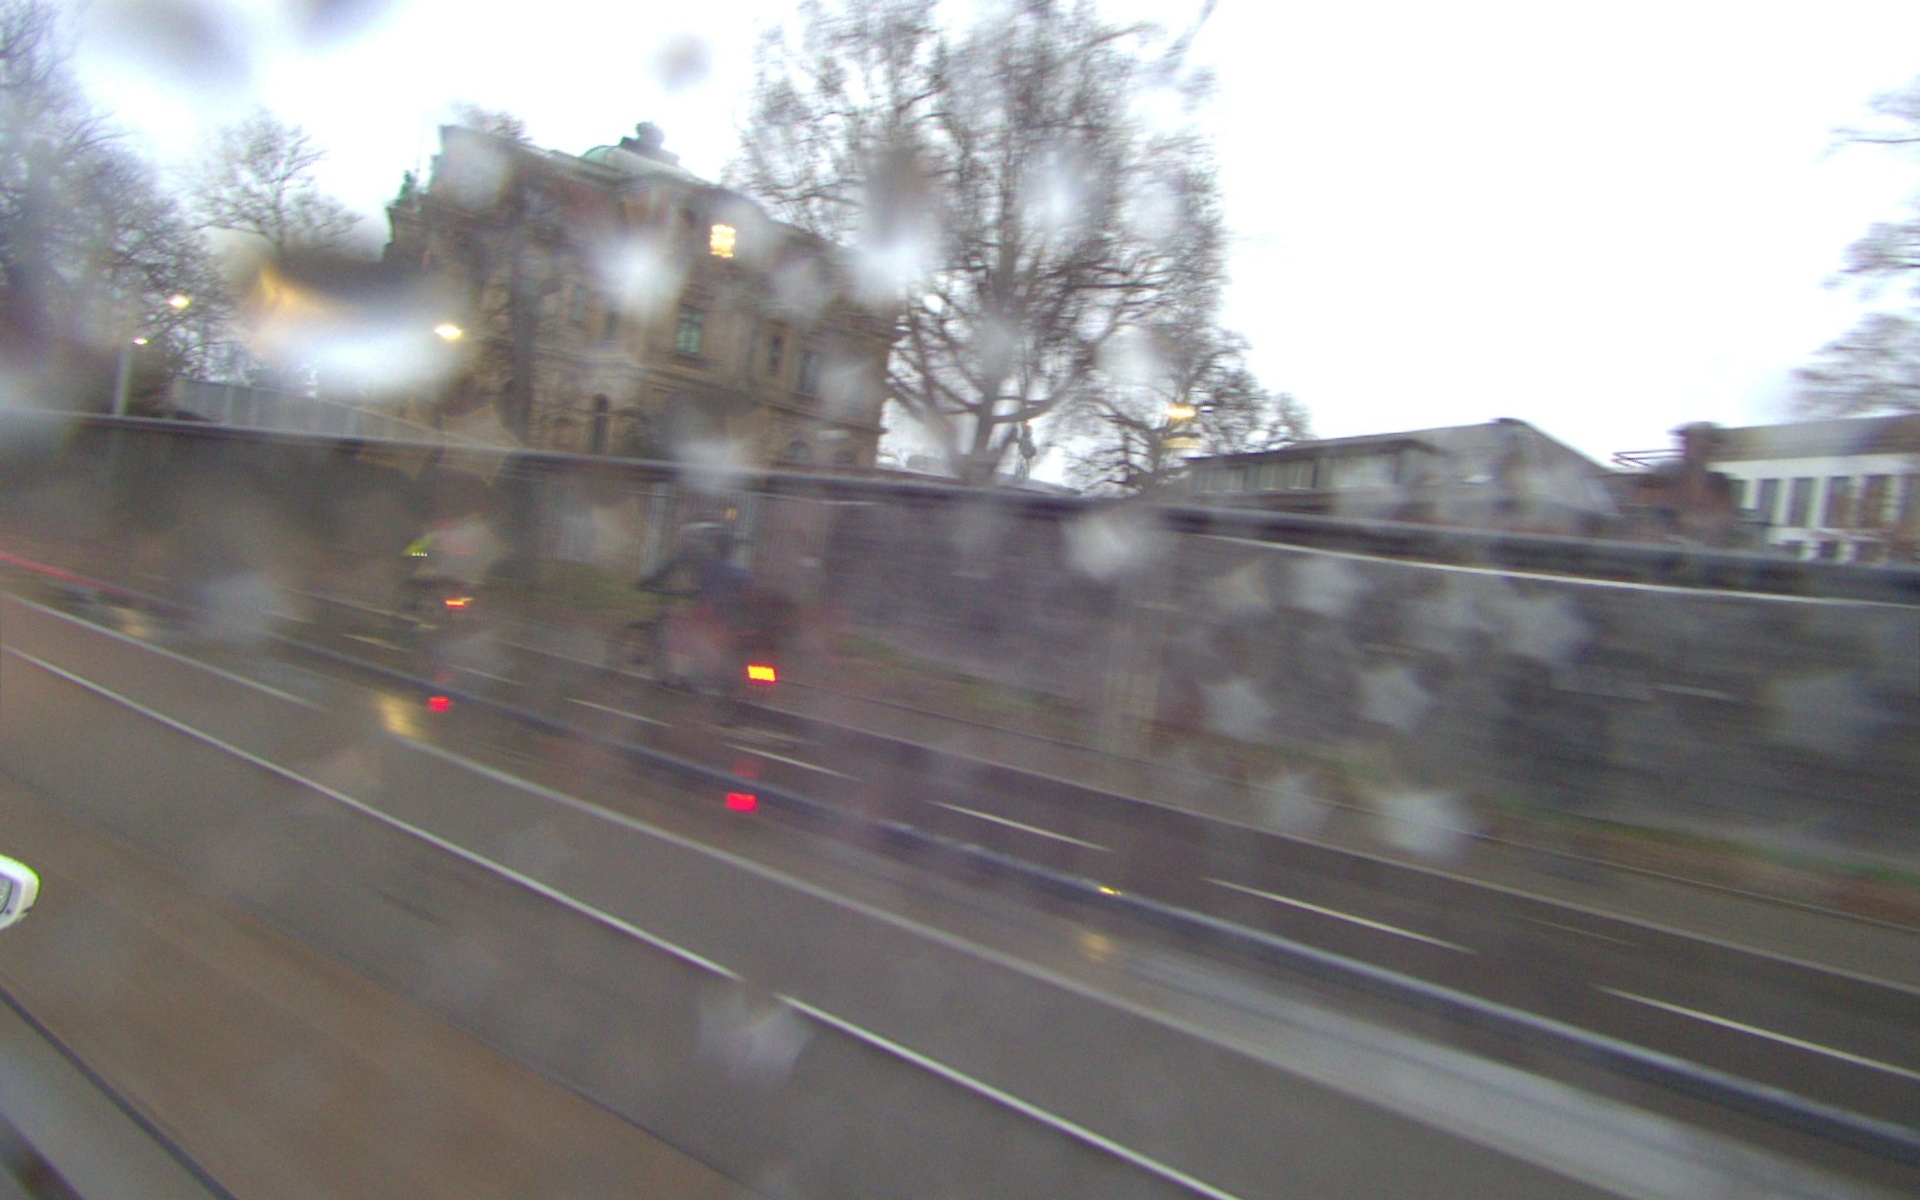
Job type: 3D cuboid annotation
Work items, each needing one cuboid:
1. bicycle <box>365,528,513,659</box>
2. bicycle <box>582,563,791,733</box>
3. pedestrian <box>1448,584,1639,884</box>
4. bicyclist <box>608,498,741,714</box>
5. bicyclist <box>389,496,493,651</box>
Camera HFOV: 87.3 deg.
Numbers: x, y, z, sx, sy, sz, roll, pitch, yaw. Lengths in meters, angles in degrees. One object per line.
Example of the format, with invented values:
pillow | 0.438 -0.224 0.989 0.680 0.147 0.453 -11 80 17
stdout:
bicycle | -5.884 -0.092 11.320 1.915 1.200 0.412 9 2 31
bicycle | -2.485 0.394 9.009 1.995 1.200 0.412 9 2 31
pedestrian | 4.099 0.903 7.107 0.885 1.903 0.532 9 2 31
bicyclist | -2.551 0.051 8.998 0.823 1.789 0.500 9 2 31
bicyclist | -5.825 -0.296 11.286 0.823 1.611 0.500 9 2 31
